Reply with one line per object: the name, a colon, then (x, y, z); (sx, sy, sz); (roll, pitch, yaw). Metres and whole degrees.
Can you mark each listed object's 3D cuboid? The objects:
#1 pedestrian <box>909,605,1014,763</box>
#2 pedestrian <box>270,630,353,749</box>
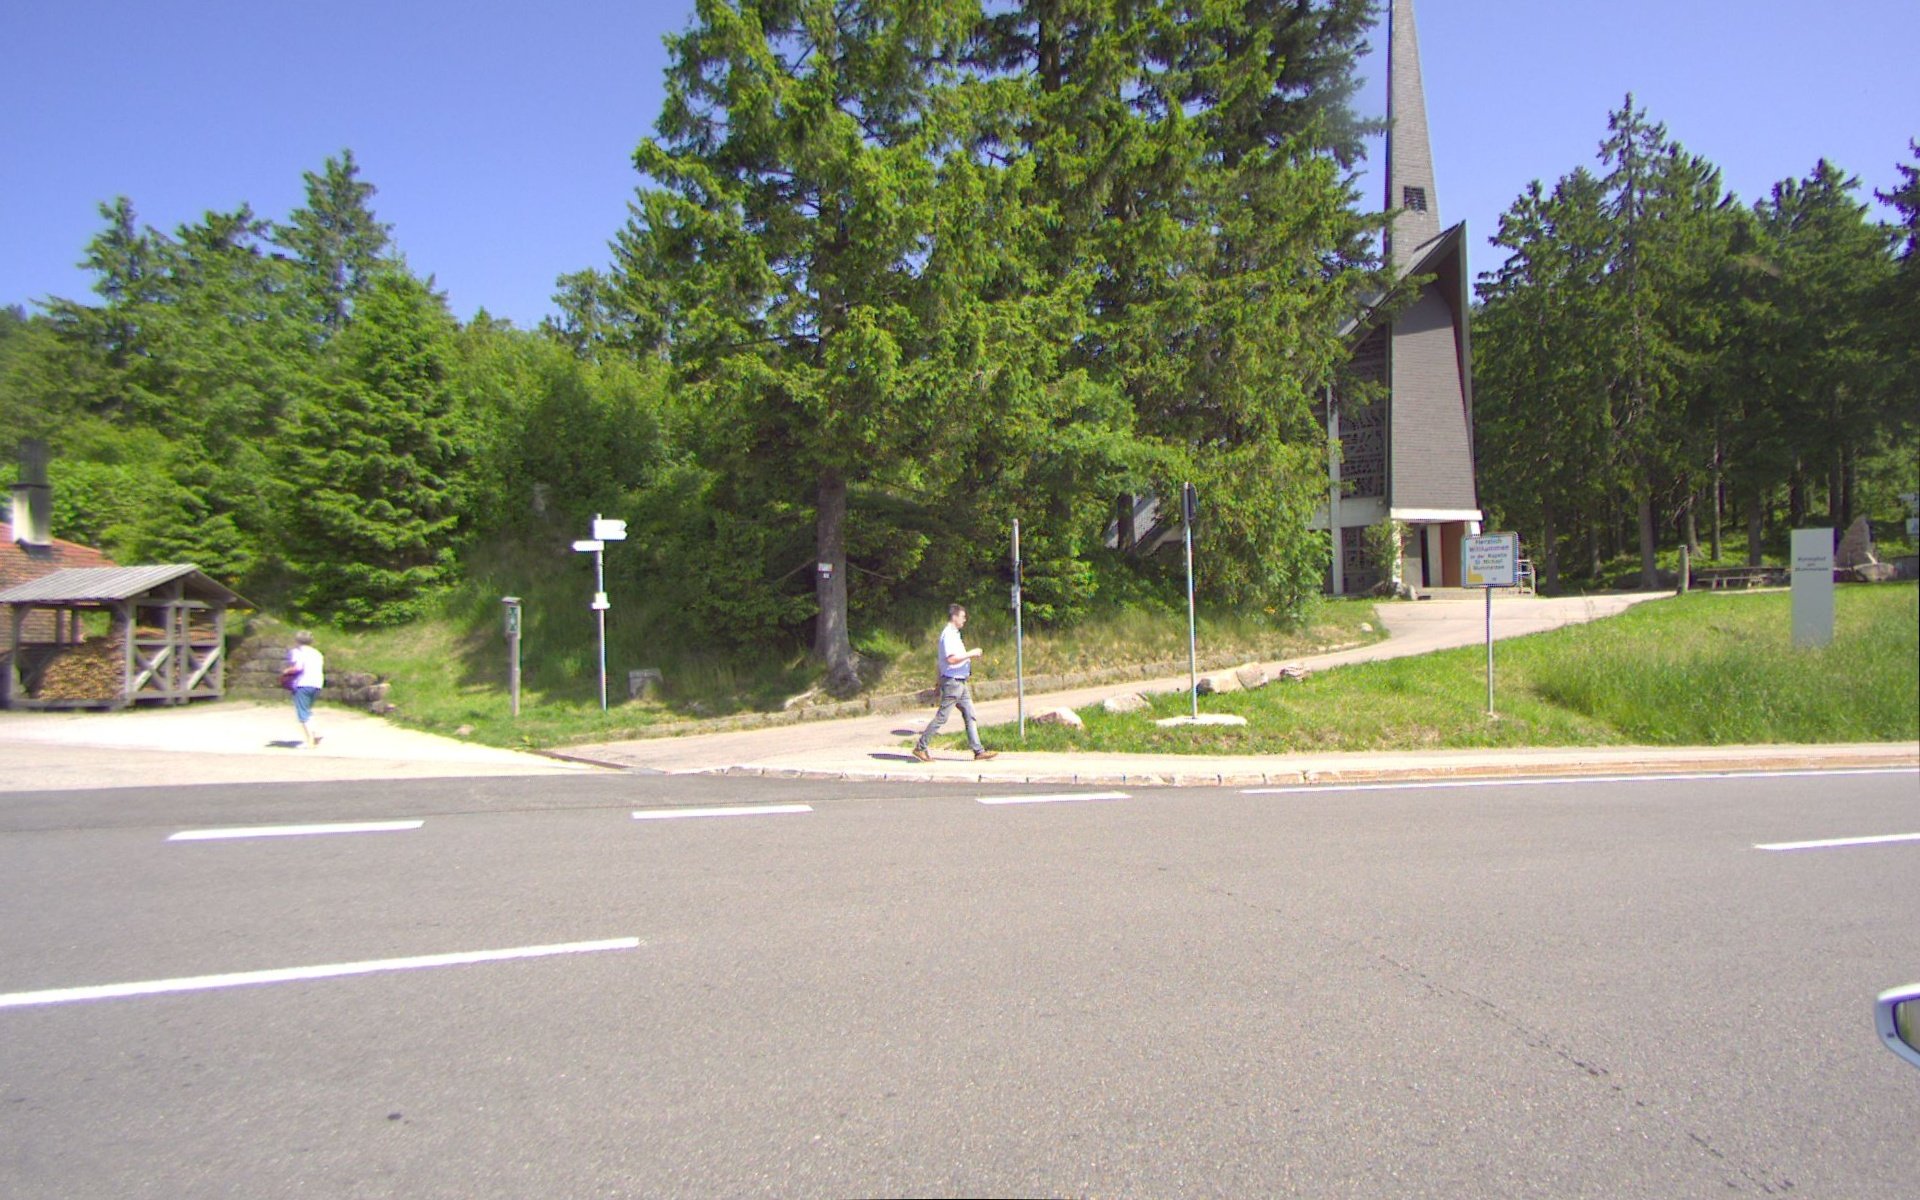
pedestrian: (0.002, 0.940, 11.471); (1.139, 1.720, 0.979); (0, -2, -2)
pedestrian: (-9.536, 1.299, 14.794); (0.669, 1.703, 0.722); (0, -2, 18)
